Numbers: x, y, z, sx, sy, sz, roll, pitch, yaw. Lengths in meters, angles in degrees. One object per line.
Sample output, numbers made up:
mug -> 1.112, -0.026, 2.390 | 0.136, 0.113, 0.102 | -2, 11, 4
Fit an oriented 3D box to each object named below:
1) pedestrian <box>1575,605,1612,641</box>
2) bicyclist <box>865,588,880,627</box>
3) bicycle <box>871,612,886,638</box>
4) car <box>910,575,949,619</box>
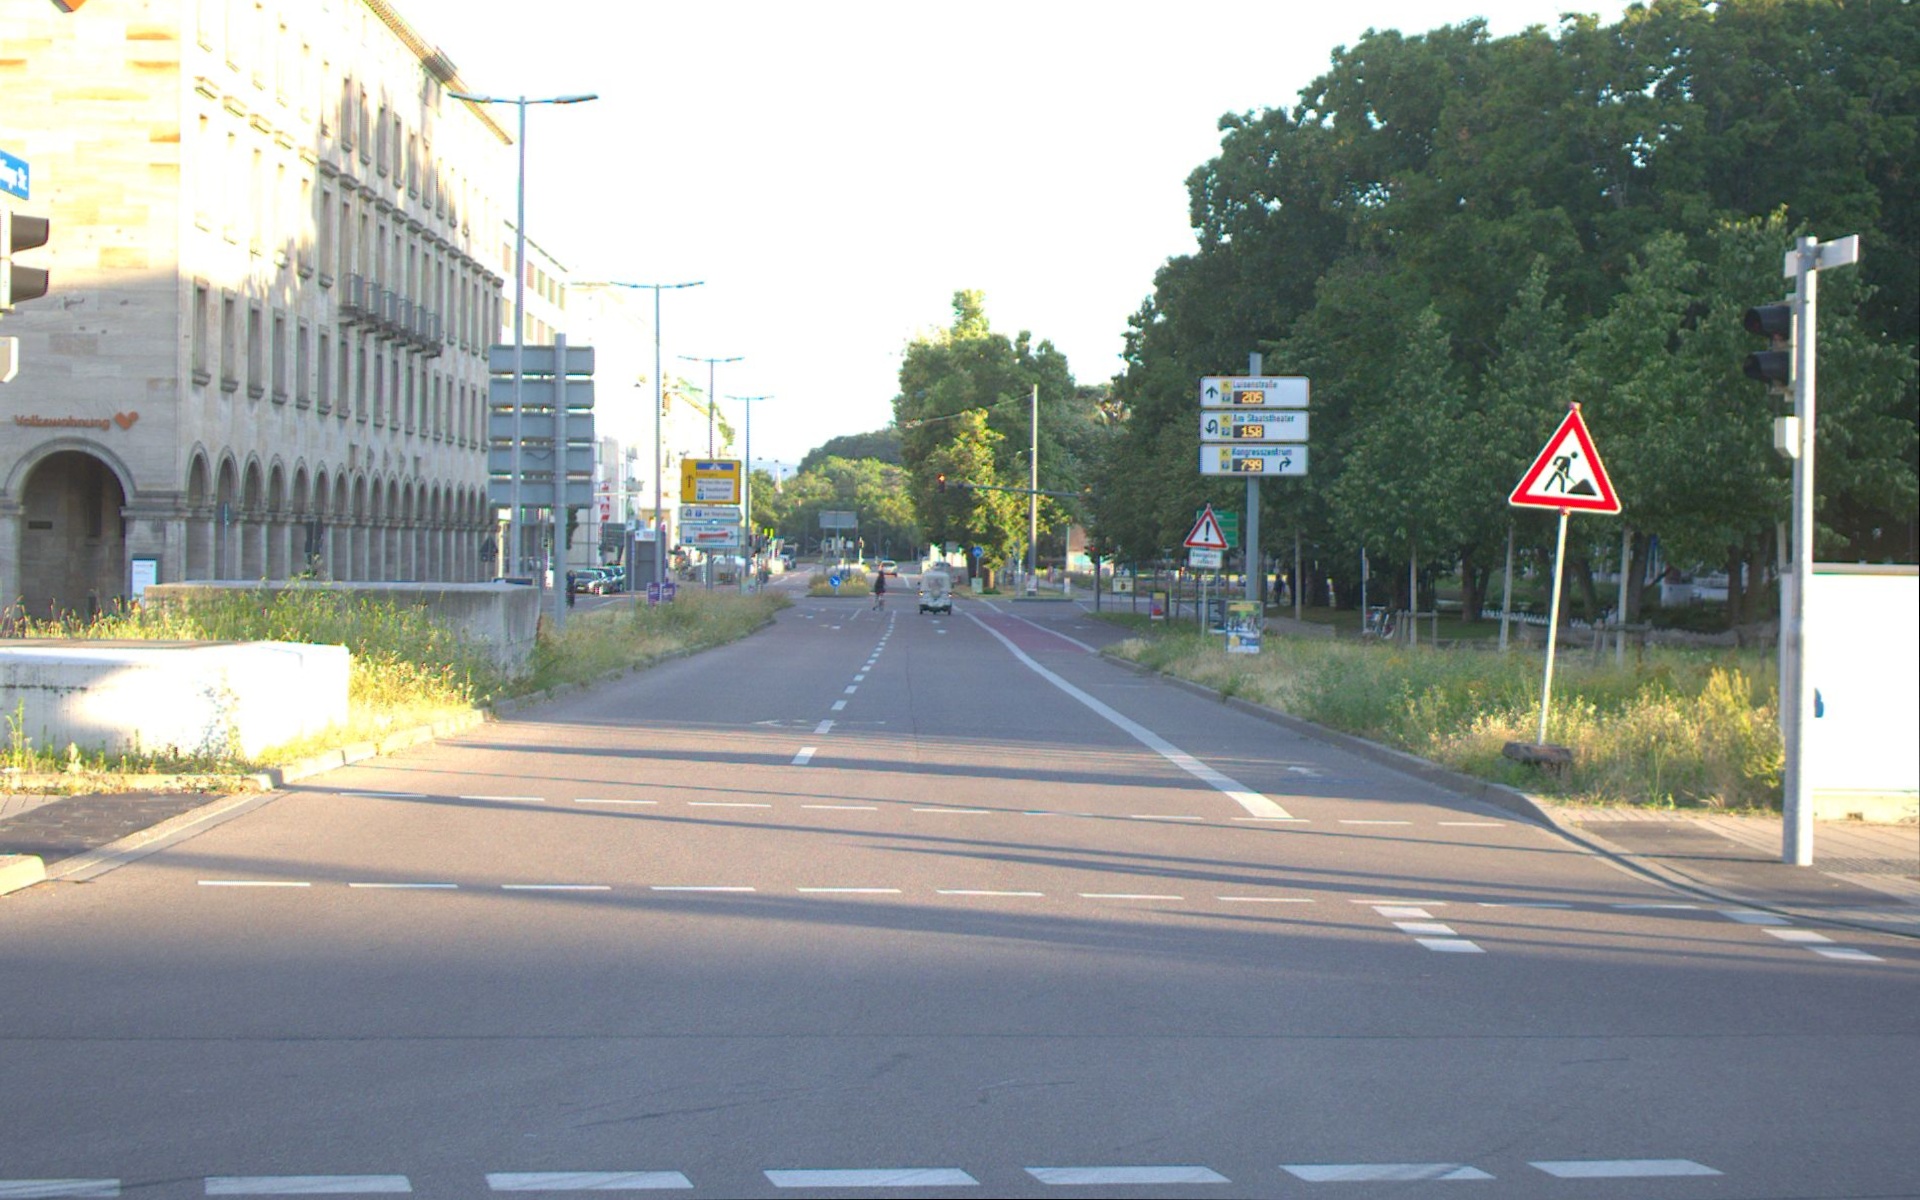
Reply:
pedestrian -> 16.956, 0.611, 92.011 | 0.679, 0.881, 0.593 | 4, 0, -26
bicyclist -> -3.748, 0.314, 147.782 | 0.628, 1.687, 0.748 | 1, -1, -2
bicycle -> -3.499, 1.066, 148.085 | 0.637, 1.065, 2.069 | 1, 0, -1
car -> -1.242, -0.138, 140.720 | 1.459, 1.775, 2.564 | 1, 0, 1
